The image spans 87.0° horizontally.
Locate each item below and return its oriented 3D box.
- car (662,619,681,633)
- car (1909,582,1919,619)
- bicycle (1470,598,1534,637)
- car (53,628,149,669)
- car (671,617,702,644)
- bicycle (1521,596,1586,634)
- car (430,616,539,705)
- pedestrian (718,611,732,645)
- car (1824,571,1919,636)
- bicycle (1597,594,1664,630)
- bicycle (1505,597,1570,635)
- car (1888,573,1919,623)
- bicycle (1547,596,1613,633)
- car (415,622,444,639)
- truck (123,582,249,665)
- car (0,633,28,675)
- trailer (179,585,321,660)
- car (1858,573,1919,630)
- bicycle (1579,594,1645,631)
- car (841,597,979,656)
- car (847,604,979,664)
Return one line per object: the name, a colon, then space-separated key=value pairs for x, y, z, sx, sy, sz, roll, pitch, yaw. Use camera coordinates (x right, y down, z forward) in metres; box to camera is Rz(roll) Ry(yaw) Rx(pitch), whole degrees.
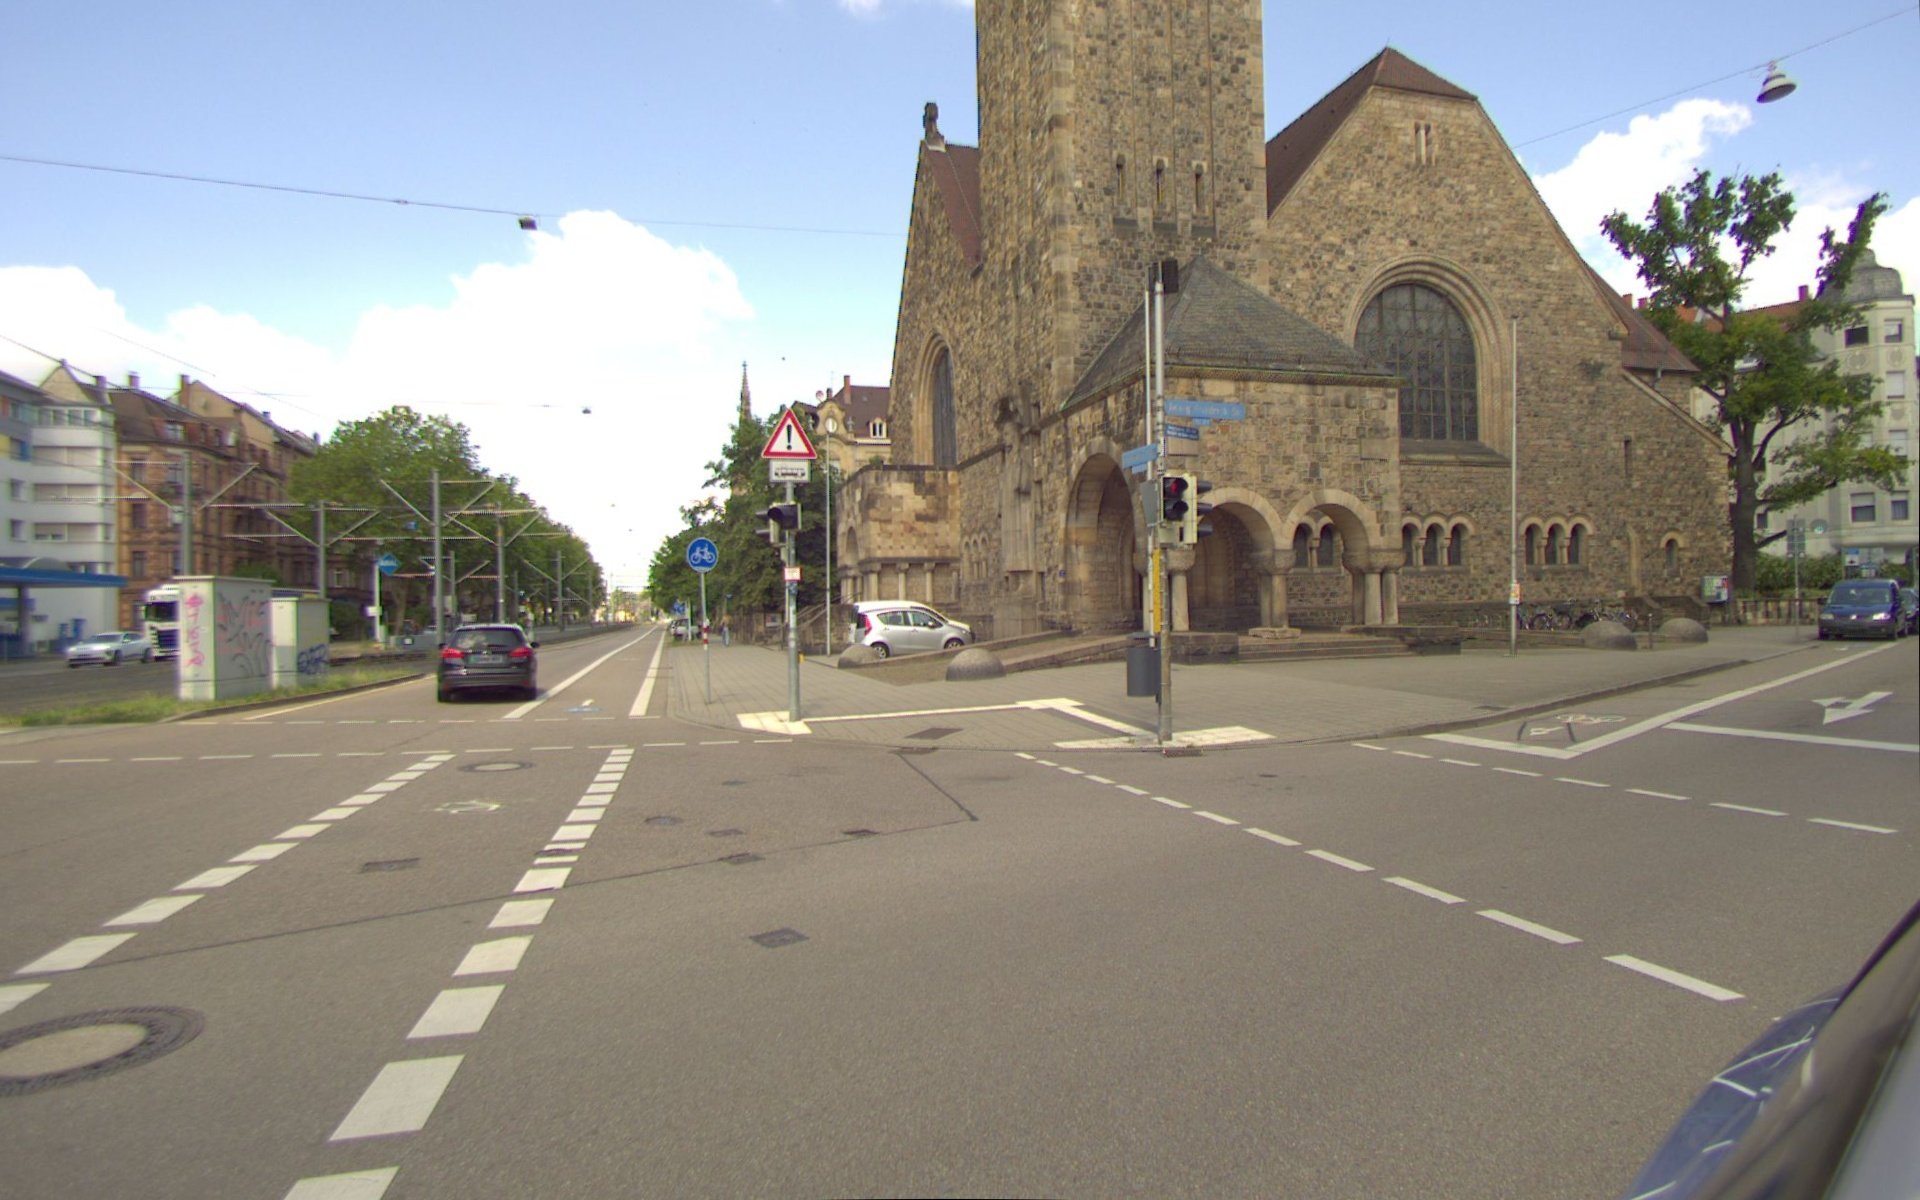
car: x=-27.713 y=2.482 z=97.256 sx=1.621 sy=1.249 sz=3.069 roll=-2 pitch=-1 yaw=-16
car: x=39.790 y=-0.010 z=40.874 sx=3.731 sy=1.465 sz=1.681 roll=-1 pitch=-1 yaw=-40
bicycle: x=17.613 y=0.548 z=32.928 sx=0.574 sy=1.126 sz=1.944 roll=-2 pitch=2 yaw=-19
car: x=-39.956 y=2.197 z=47.196 sx=1.816 sy=1.727 sz=4.142 roll=-1 pitch=-1 yaw=-15
car: x=-16.748 y=1.863 z=61.923 sx=1.752 sy=1.514 sz=3.844 roll=-2 pitch=-1 yaw=-16
bicycle: x=19.731 y=0.482 z=33.671 sx=0.574 sy=1.126 sz=1.944 roll=-2 pitch=2 yaw=-19
car: x=-9.430 y=1.116 z=20.334 sx=1.748 sy=1.554 sz=4.394 roll=0 pitch=-1 yaw=-22
pedestrian: x=-11.945 y=1.404 z=51.469 sx=0.645 sy=1.686 sz=0.847 roll=-1 pitch=-1 yaw=-14
car: x=27.597 y=0.092 z=30.486 sx=4.072 sy=1.814 sz=1.681 roll=-1 pitch=-1 yaw=-40
bicycle: x=22.886 y=0.383 z=34.588 sx=0.574 sy=1.126 sz=1.944 roll=-2 pitch=2 yaw=-19
bicycle: x=19.064 y=0.503 z=33.455 sx=0.574 sy=1.126 sz=1.944 roll=-2 pitch=2 yaw=-19
car: x=36.222 y=-0.087 z=37.838 sx=3.929 sy=1.814 sz=1.681 roll=-1 pitch=-1 yaw=-40
bicycle: x=20.703 y=0.451 z=33.835 sx=0.574 sy=1.126 sz=1.944 roll=-2 pitch=2 yaw=-19
car: x=-54.297 y=3.120 z=103.594 sx=1.766 sy=1.651 sz=4.007 roll=-2 pitch=0 yaw=-15
truck: x=-42.031 y=1.227 z=55.254 sx=2.857 sy=4.202 sz=6.602 roll=-2 pitch=0 yaw=-12
car: x=-37.051 y=2.077 z=37.881 sx=1.651 sy=1.583 sz=3.760 roll=-1 pitch=-1 yaw=-16
trailer: x=-43.671 y=1.287 z=62.831 sx=2.857 sy=4.129 sz=11.671 roll=-2 pitch=0 yaw=-12
car: x=31.549 y=0.044 z=33.836 sx=3.929 sy=1.814 sz=1.681 roll=-1 pitch=-1 yaw=-40
bicycle: x=22.128 y=0.406 z=34.375 sx=0.574 sy=1.126 sz=1.944 roll=-2 pitch=2 yaw=-19
car: x=-1.689 y=0.890 z=33.731 sx=4.214 sy=1.878 sz=2.003 roll=0 pitch=-3 yaw=-16
car: x=-1.423 y=1.000 z=30.216 sx=3.561 sy=1.700 sz=1.822 roll=0 pitch=-3 yaw=-19
